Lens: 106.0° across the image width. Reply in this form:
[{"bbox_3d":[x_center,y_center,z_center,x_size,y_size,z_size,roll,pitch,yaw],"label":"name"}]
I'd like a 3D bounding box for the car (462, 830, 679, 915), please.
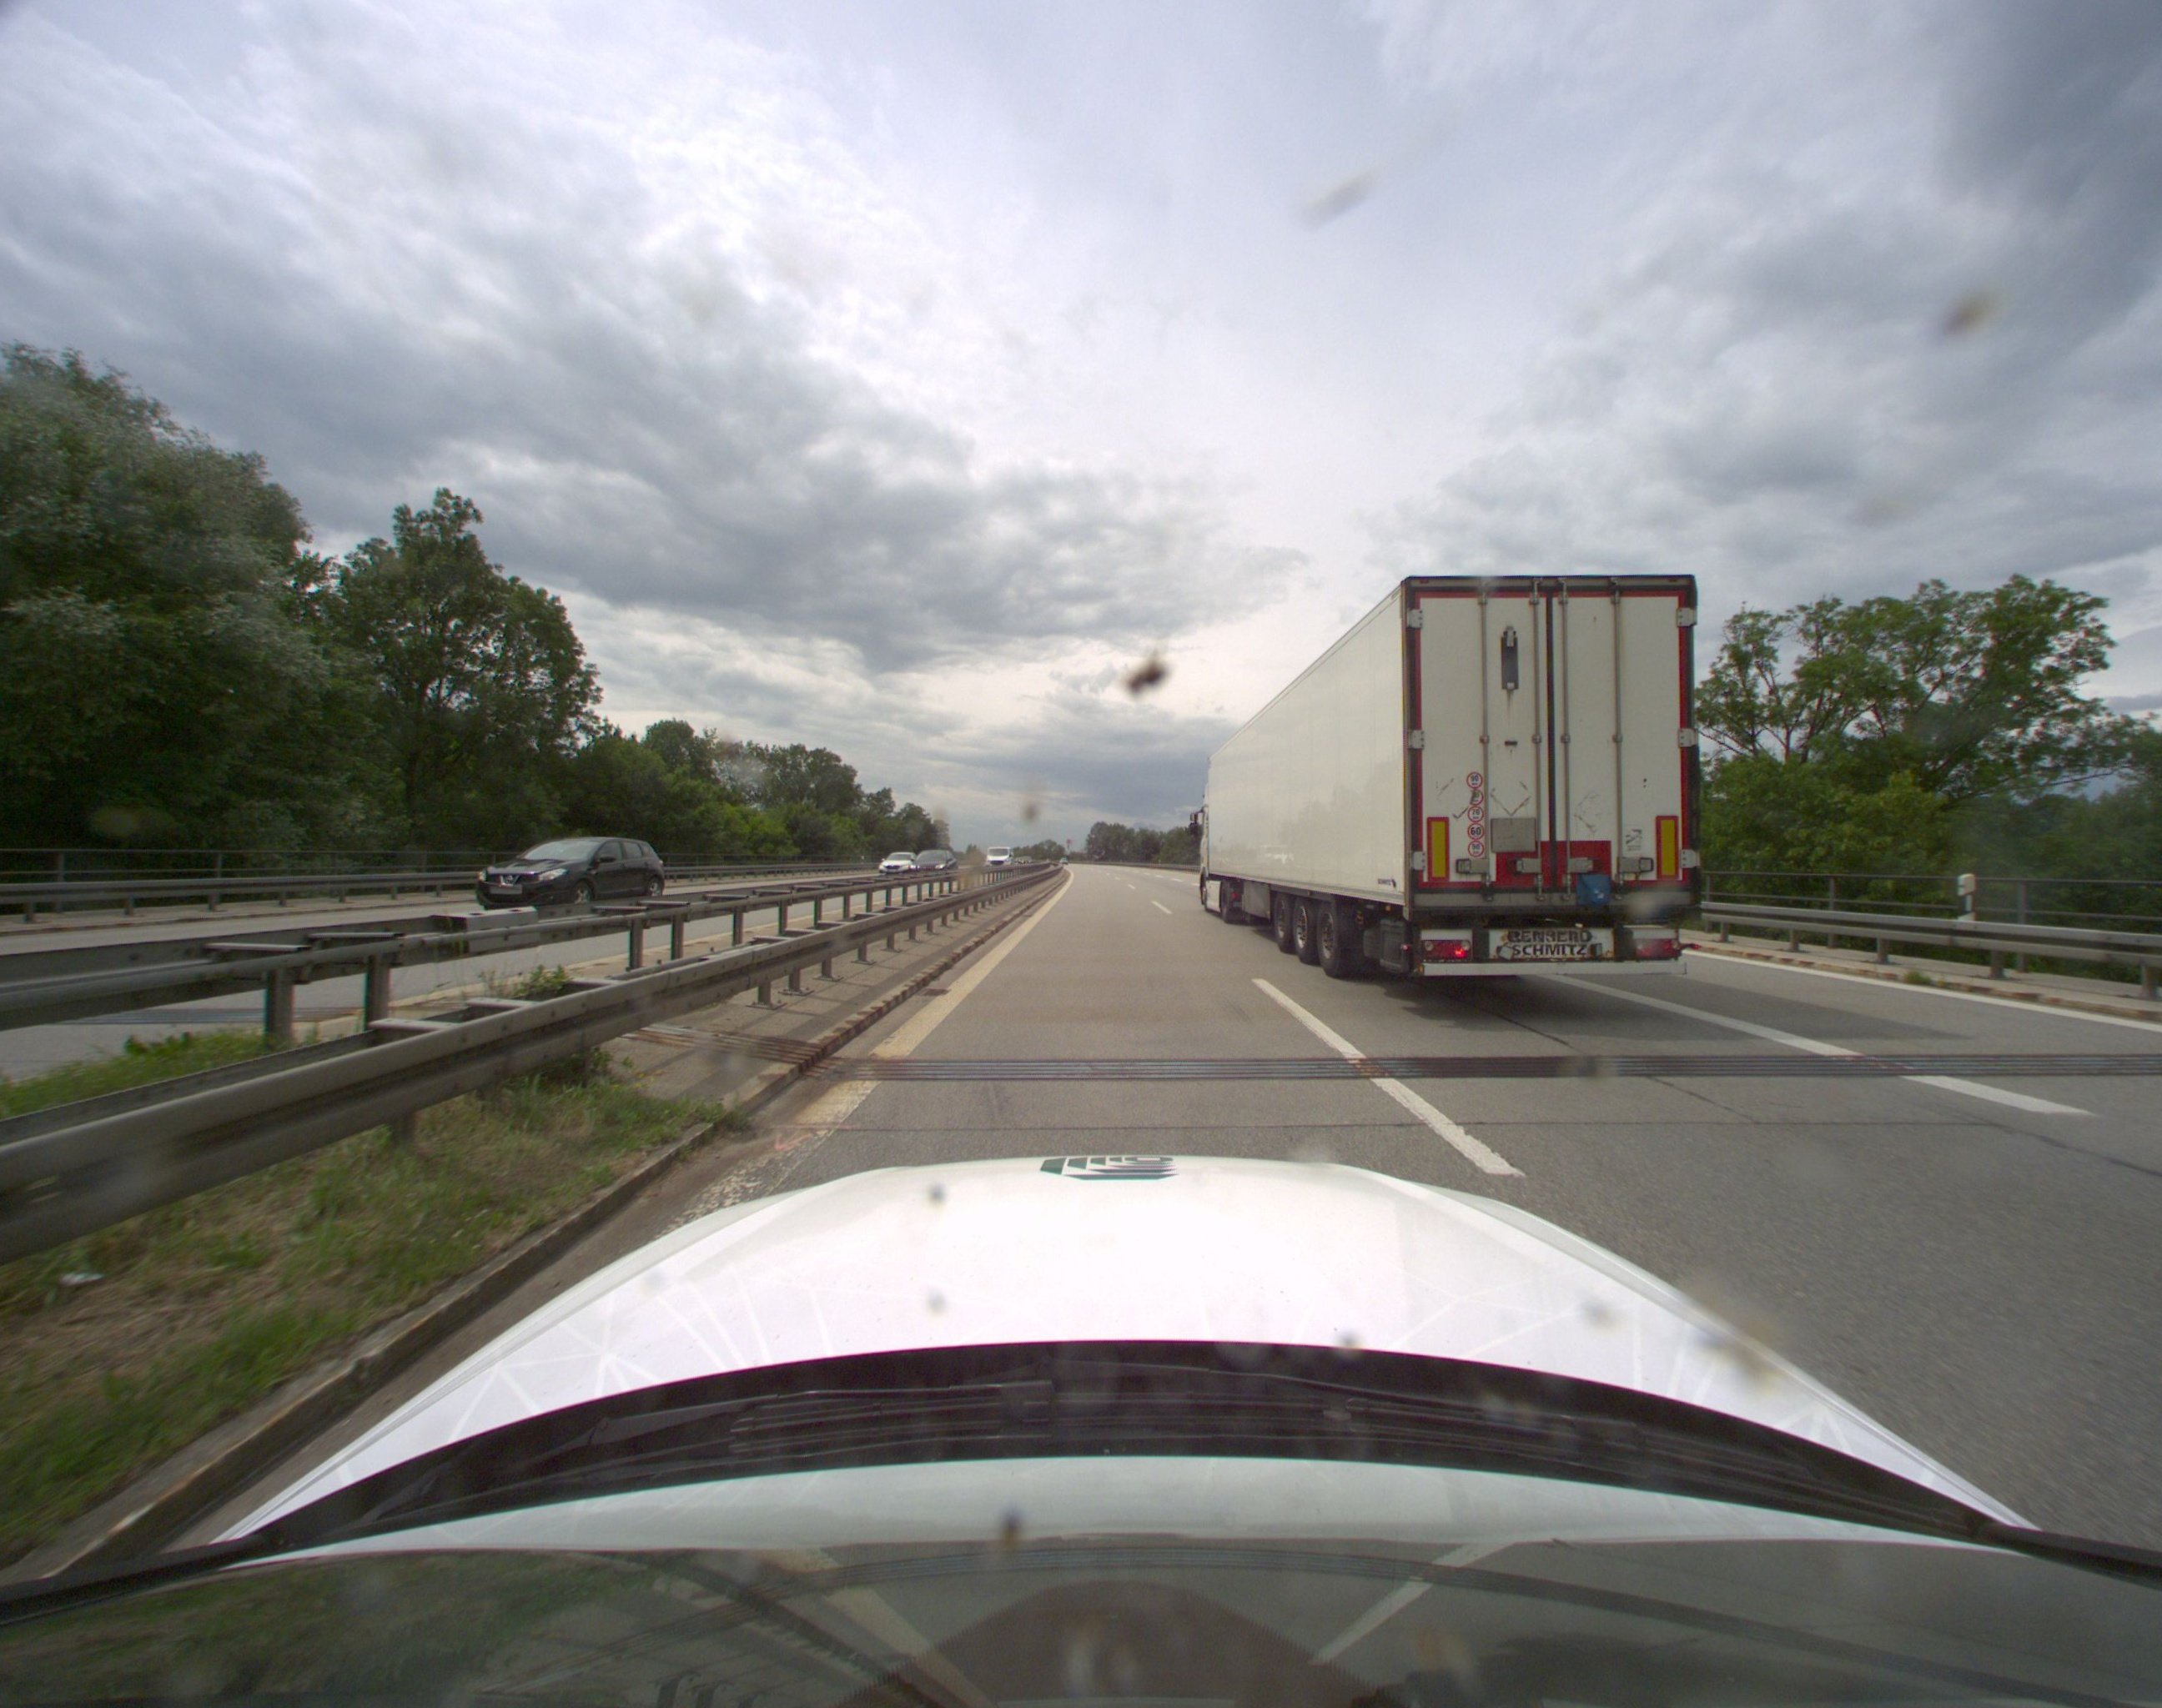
[{"bbox_3d":[-10.485,0.337,17.190,1.722,1.559,4.333,0,0,2],"label":"car"}]

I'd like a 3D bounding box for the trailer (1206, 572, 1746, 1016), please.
[{"bbox_3d":[4.516,-0.526,14.048,3.050,3.890,13.796,0,0,2],"label":"trailer"}]

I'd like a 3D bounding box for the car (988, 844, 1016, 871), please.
[{"bbox_3d":[-6.164,0.263,63.724,1.766,1.910,4.712,2,0,-1],"label":"car"}]

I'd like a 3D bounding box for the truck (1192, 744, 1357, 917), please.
[{"bbox_3d":[4.758,-0.523,21.282,3.051,3.892,6.002,0,0,2],"label":"truck"}]

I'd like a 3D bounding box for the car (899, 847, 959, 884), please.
[{"bbox_3d":[-7.111,0.503,38.666,1.839,1.612,4.947,1,0,1],"label":"car"}]

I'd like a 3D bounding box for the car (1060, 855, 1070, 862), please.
[{"bbox_3d":[-4.072,1.227,205.070,1.901,1.640,4.383,1,-1,-8],"label":"car"}]

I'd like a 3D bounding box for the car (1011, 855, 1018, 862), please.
[{"bbox_3d":[-17.881,1.229,218.242,1.649,1.541,3.992,4,0,-6],"label":"car"}]

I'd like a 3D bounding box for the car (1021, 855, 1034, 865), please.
[{"bbox_3d":[-7.851,0.838,119.715,1.681,1.376,4.356,-1,0,-1],"label":"car"}]

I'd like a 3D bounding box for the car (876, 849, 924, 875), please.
[{"bbox_3d":[-10.308,0.447,46.671,1.839,1.438,3.936,0,0,1],"label":"car"}]
